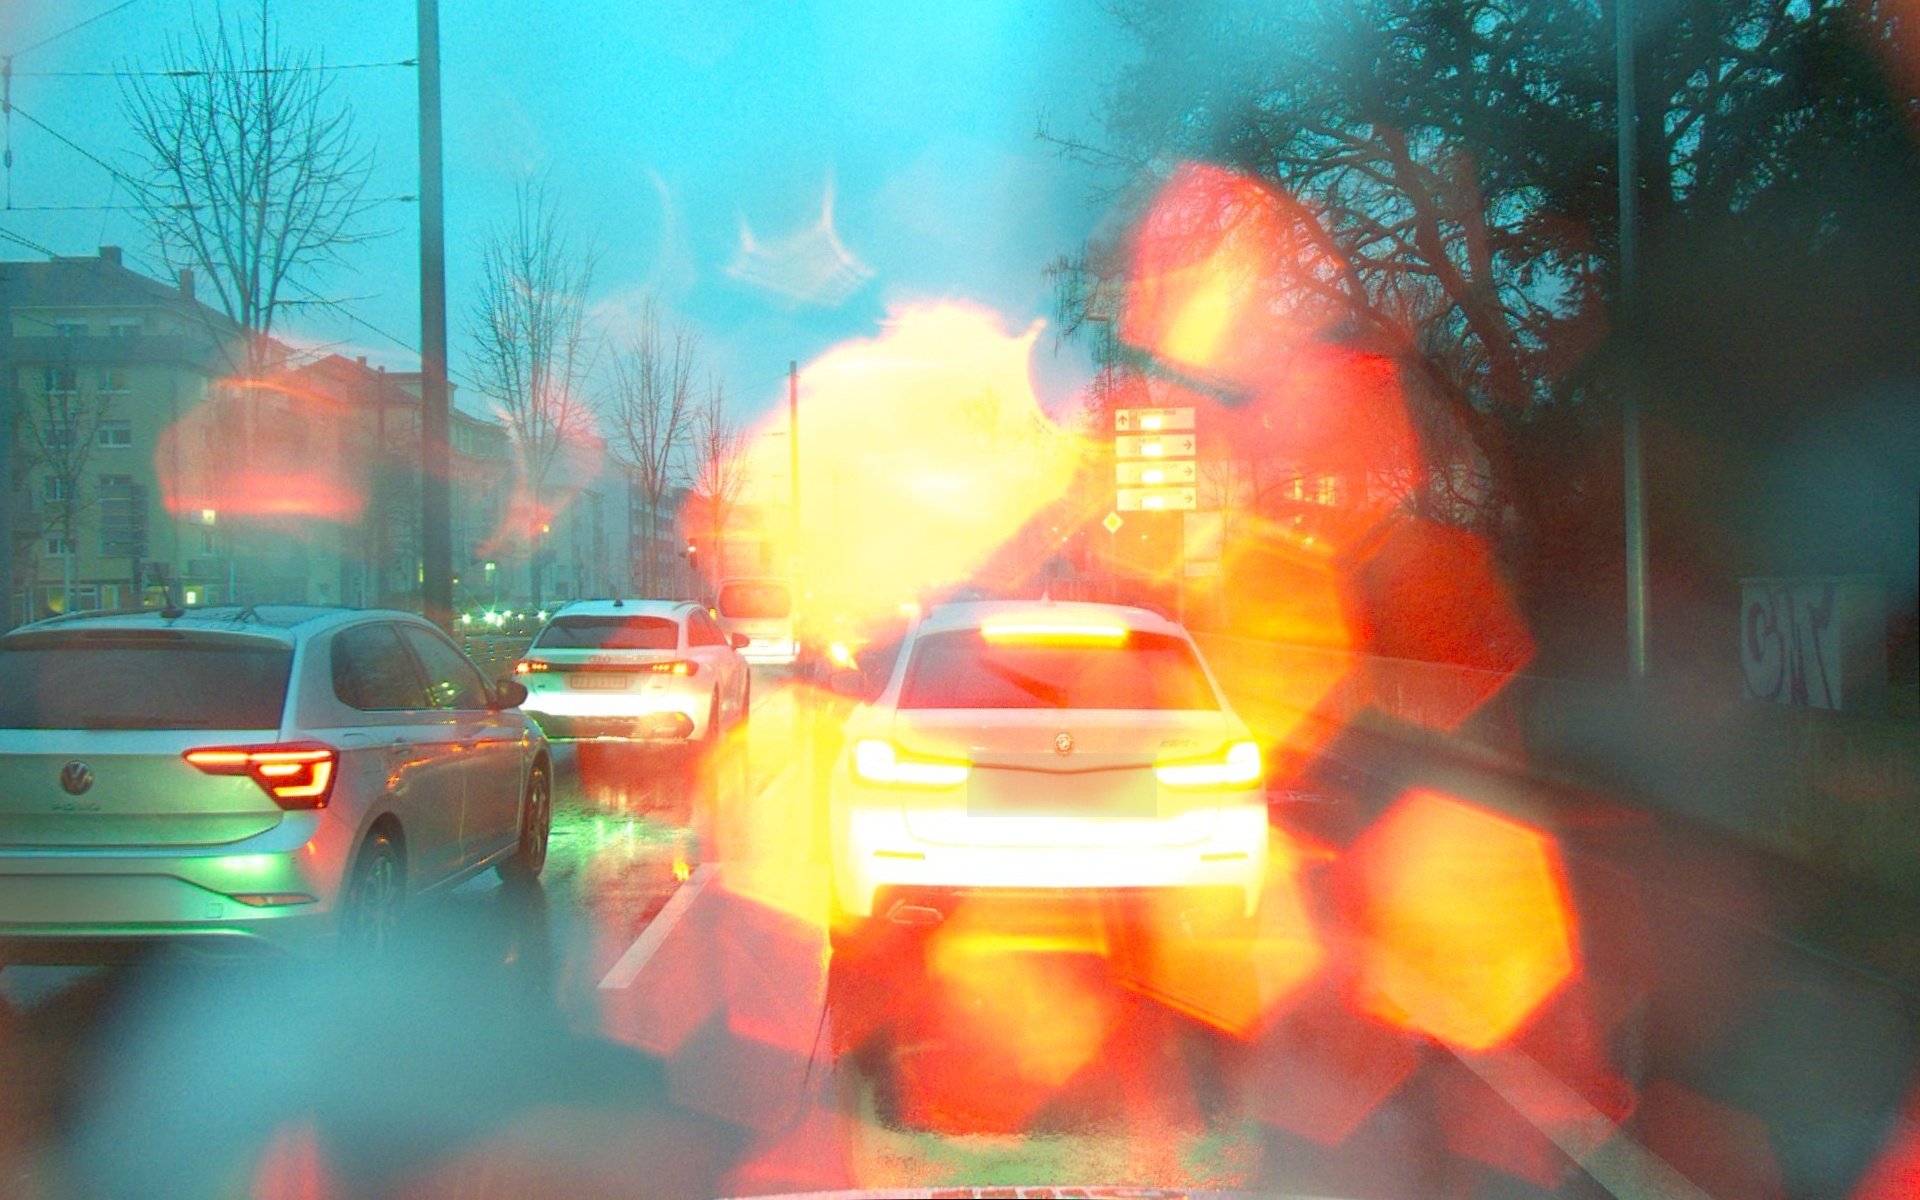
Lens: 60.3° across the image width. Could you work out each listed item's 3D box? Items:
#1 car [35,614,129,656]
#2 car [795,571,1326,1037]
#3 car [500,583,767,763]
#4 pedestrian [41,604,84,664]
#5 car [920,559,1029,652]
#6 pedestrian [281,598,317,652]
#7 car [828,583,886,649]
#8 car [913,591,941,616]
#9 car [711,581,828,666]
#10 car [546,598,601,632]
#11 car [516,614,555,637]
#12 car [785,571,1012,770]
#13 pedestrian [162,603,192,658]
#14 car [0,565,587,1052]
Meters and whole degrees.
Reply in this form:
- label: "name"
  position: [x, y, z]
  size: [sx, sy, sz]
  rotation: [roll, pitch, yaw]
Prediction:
- label: "car"
  position: [-43.736, 1.746, 82.492]
  size: [3.679, 1.976, 1.838]
  rotation: [1, 0, -9]
- label: "car"
  position: [0.318, 0.693, 8.231]
  size: [1.825, 1.583, 4.937]
  rotation: [-1, 0, -1]
- label: "car"
  position: [-3.045, 0.610, 16.372]
  size: [1.762, 1.492, 4.585]
  rotation: [-1, 0, -1]
- label: "pedestrian"
  position: [-31.384, 1.170, 57.839]
  size: [0.991, 2.049, 1.064]
  rotation: [-1, 0, 44]
- label: "car"
  position: [0.204, 0.071, 28.163]
  size: [1.702, 1.444, 3.702]
  rotation: [-1, 0, -1]
- label: "pedestrian"
  position: [-25.831, 0.959, 64.655]
  size: [1.253, 2.049, 1.000]
  rotation: [-1, 0, -25]
- label: "car"
  position: [-2.786, 0.425, 44.538]
  size: [1.476, 1.681, 2.842]
  rotation: [1, 0, -4]
- label: "car"
  position: [-2.014, 0.186, 101.975]
  size: [1.702, 1.444, 4.145]
  rotation: [-1, 0, -1]
- label: "car"
  position: [-3.468, 0.398, 30.828]
  size: [1.702, 1.444, 4.393]
  rotation: [-1, 0, -1]
- label: "car"
  position: [-19.632, 0.752, 84.255]
  size: [1.953, 1.630, 3.998]
  rotation: [1, 0, -2]
- label: "car"
  position: [-24.760, 1.470, 96.610]
  size: [1.659, 1.300, 4.142]
  rotation: [-1, 0, -7]
- label: "car"
  position: [-0.511, 0.556, 14.961]
  size: [1.763, 1.537, 3.894]
  rotation: [-1, 0, -1]
- label: "pedestrian"
  position: [-29.783, 1.157, 62.953]
  size: [0.946, 2.049, 1.000]
  rotation: [-1, 0, -23]
- label: "car"
  position: [-2.891, 0.659, 7.316]
  size: [1.659, 1.560, 3.999]
  rotation: [0, 0, -1]
